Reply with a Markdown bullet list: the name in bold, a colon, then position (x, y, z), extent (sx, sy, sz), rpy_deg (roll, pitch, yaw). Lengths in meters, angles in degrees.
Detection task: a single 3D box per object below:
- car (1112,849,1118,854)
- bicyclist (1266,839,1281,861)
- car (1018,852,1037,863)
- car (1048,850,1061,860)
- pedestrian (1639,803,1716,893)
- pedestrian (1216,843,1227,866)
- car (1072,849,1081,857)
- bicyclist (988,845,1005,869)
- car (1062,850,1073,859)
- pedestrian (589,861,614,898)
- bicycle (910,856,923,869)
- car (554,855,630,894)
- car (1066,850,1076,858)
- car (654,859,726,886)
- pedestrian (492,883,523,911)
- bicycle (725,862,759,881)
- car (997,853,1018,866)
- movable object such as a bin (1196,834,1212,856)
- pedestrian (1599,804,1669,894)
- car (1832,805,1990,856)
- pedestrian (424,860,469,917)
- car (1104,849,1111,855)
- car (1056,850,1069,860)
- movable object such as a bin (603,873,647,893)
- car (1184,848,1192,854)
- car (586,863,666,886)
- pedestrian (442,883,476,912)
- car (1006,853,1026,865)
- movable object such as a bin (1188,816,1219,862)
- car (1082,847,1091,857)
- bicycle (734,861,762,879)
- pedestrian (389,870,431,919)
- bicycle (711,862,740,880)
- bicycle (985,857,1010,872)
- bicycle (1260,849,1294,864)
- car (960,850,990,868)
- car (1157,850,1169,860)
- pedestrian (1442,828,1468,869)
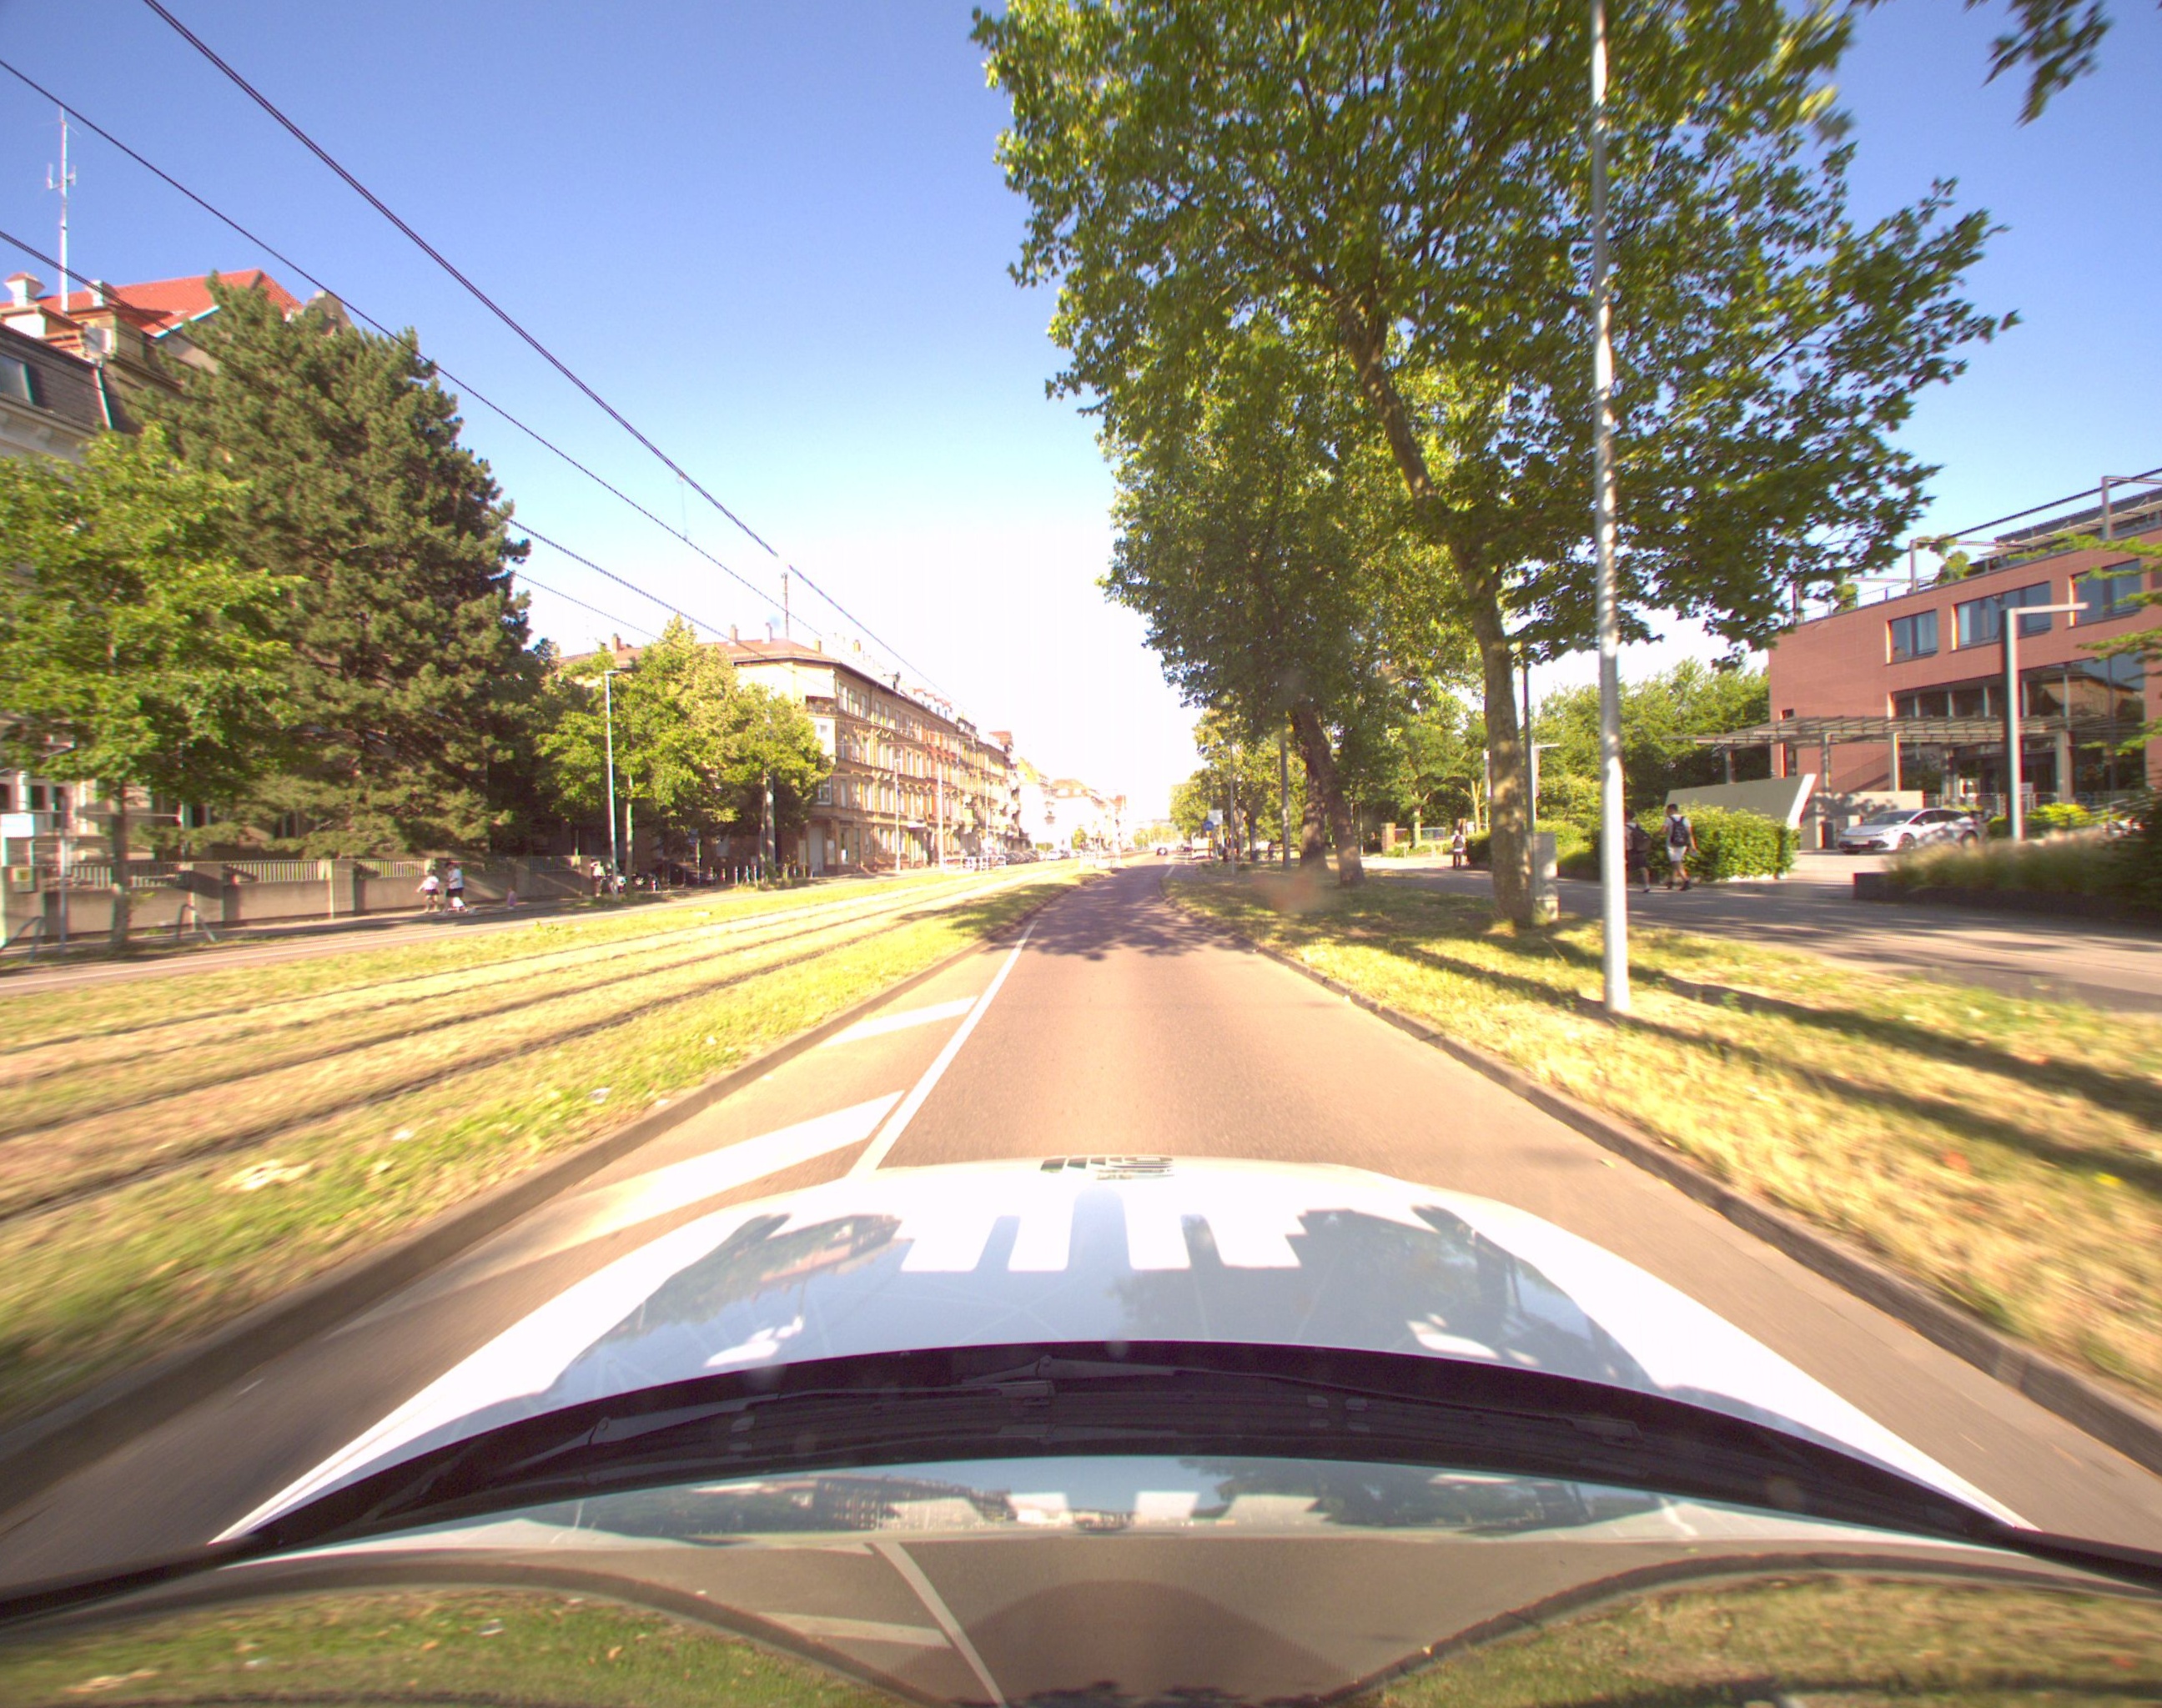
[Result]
- **car**: position (9.936, -0.749, 240.794), extent (1.519, 1.560, 3.230), rpy_deg (0, 1, 7)
- **bicyclist**: position (13.734, -0.279, 58.120), extent (0.899, 1.496, 0.767), rpy_deg (-2, 1, 3)
- **car**: position (-7.268, 0.453, 110.786), extent (1.767, 1.406, 3.987), rpy_deg (0, 2, 7)
- **car**: position (-4.426, 0.154, 136.027), extent (1.732, 1.560, 3.775), rpy_deg (0, 1, 7)
- **pedestrian**: position (12.484, -0.128, 17.073), extent (0.801, 1.793, 1.112), rpy_deg (-3, 0, 8)
- **pedestrian**: position (10.365, 0.051, 60.078), extent (0.657, 1.647, 0.864), rpy_deg (-4, 0, 8)
- **car**: position (-0.905, -0.199, 161.577), extent (1.519, 1.560, 3.230), rpy_deg (0, 1, 7)
- **bicyclist**: position (-6.184, 0.194, 59.802), extent (0.757, 1.715, 0.928), rpy_deg (-2, 1, 32)
- **car**: position (-2.486, 0.042, 146.192), extent (1.519, 1.560, 3.230), rpy_deg (0, 1, 7)
- **pedestrian**: position (-21.219, 1.119, 36.042), extent (0.615, 1.593, 0.799), rpy_deg (0, 0, 5)
- **bicycle**: position (-15.783, 0.777, 78.013), extent (0.695, 1.180, 1.755), rpy_deg (0, 0, 8)
- **car**: position (-27.702, 1.120, 46.091), extent (4.555, 2.013, 2.013), rpy_deg (1, 0, 36)
- **car**: position (-1.810, -0.004, 152.708), extent (1.519, 1.560, 3.230), rpy_deg (0, 1, 7)
- **car**: position (-22.434, 1.021, 46.721), extent (4.138, 1.471, 2.013), rpy_deg (-1, 0, 36)
- **pedestrian**: position (-20.428, 1.532, 29.017), extent (0.645, 0.932, 0.587), rpy_deg (-3, 0, 12)
- **bicycle**: position (-22.871, 1.182, 54.960), extent (0.779, 1.179, 2.251), rpy_deg (0, 0, 19)
- **car**: position (-9.100, 0.679, 100.579), extent (1.767, 1.406, 3.917), rpy_deg (0, 1, 7)
- **movable object such as a bin**: position (17.952, -1.354, 119.267), extent (1.958, 3.013, 4.806), rpy_deg (-4, 0, 7)
- **pedestrian**: position (11.578, -0.096, 17.084), extent (0.746, 1.793, 1.088), rpy_deg (-3, 0, 8)
- **car**: position (28.829, -0.801, 28.334), extent (4.165, 1.506, 1.991), rpy_deg (-3, 1, -13)
- **pedestrian**: position (-20.479, 1.109, 26.300), extent (0.646, 1.775, 0.890), rpy_deg (-3, 0, 6)
- **car**: position (7.359, -0.598, 224.015), extent (1.519, 1.560, 3.230), rpy_deg (0, 1, 7)
- **car**: position (-3.210, 0.120, 140.684), extent (1.732, 1.560, 3.775), rpy_deg (0, 1, 7)
- **movable object such as a bin**: position (-20.725, 1.327, 37.035), extent (1.239, 0.865, 1.239), rpy_deg (0, 0, 5)
- **car**: position (32.171, -0.867, 244.523), extent (1.986, 1.859, 4.001), rpy_deg (0, 0, 1)
- **car**: position (-29.842, 1.335, 53.473), extent (4.159, 1.471, 2.002), rpy_deg (0, 0, 4)
- **pedestrian**: position (-20.909, 1.457, 27.376), extent (0.646, 0.932, 0.586), rpy_deg (-3, 0, 5)
- **car**: position (-8.392, 0.606, 105.056), extent (1.767, 1.406, 3.917), rpy_deg (0, 1, 7)
- **movable object such as a bin**: position (14.509, -1.759, 97.313), extent (3.071, 5.088, 8.910), rpy_deg (-4, 0, 7)
- **car**: position (1.268, -0.539, 180.785), extent (1.649, 2.139, 3.533), rpy_deg (0, 1, 7)
- **bicycle**: position (-23.143, 1.128, 56.630), extent (0.780, 1.179, 2.246), rpy_deg (0, 0, 9)
- **pedestrian**: position (-22.096, 1.333, 26.819), extent (0.646, 1.539, 0.784), rpy_deg (-3, 0, 6)
- **bicycle**: position (-24.074, 1.135, 55.248), extent (0.781, 1.179, 2.244), rpy_deg (0, 0, 5)
- **bicycle**: position (-6.145, 0.753, 59.840), extent (0.757, 1.040, 1.972), rpy_deg (-2, 1, 32)
- **bicycle**: position (13.956, 0.180, 58.105), extent (2.250, 1.040, 0.767), rpy_deg (-2, 1, 3)
- **car**: position (-11.176, 0.544, 86.105), extent (2.005, 1.753, 4.567), rpy_deg (0, 1, 7)
- **car**: position (14.001, 0.217, 139.331), extent (1.983, 1.684, 4.009), rpy_deg (0, 0, 7)
- **pedestrian**: position (14.473, -0.211, 31.525), extent (0.646, 1.539, 0.785), rpy_deg (-3, 0, 7)
